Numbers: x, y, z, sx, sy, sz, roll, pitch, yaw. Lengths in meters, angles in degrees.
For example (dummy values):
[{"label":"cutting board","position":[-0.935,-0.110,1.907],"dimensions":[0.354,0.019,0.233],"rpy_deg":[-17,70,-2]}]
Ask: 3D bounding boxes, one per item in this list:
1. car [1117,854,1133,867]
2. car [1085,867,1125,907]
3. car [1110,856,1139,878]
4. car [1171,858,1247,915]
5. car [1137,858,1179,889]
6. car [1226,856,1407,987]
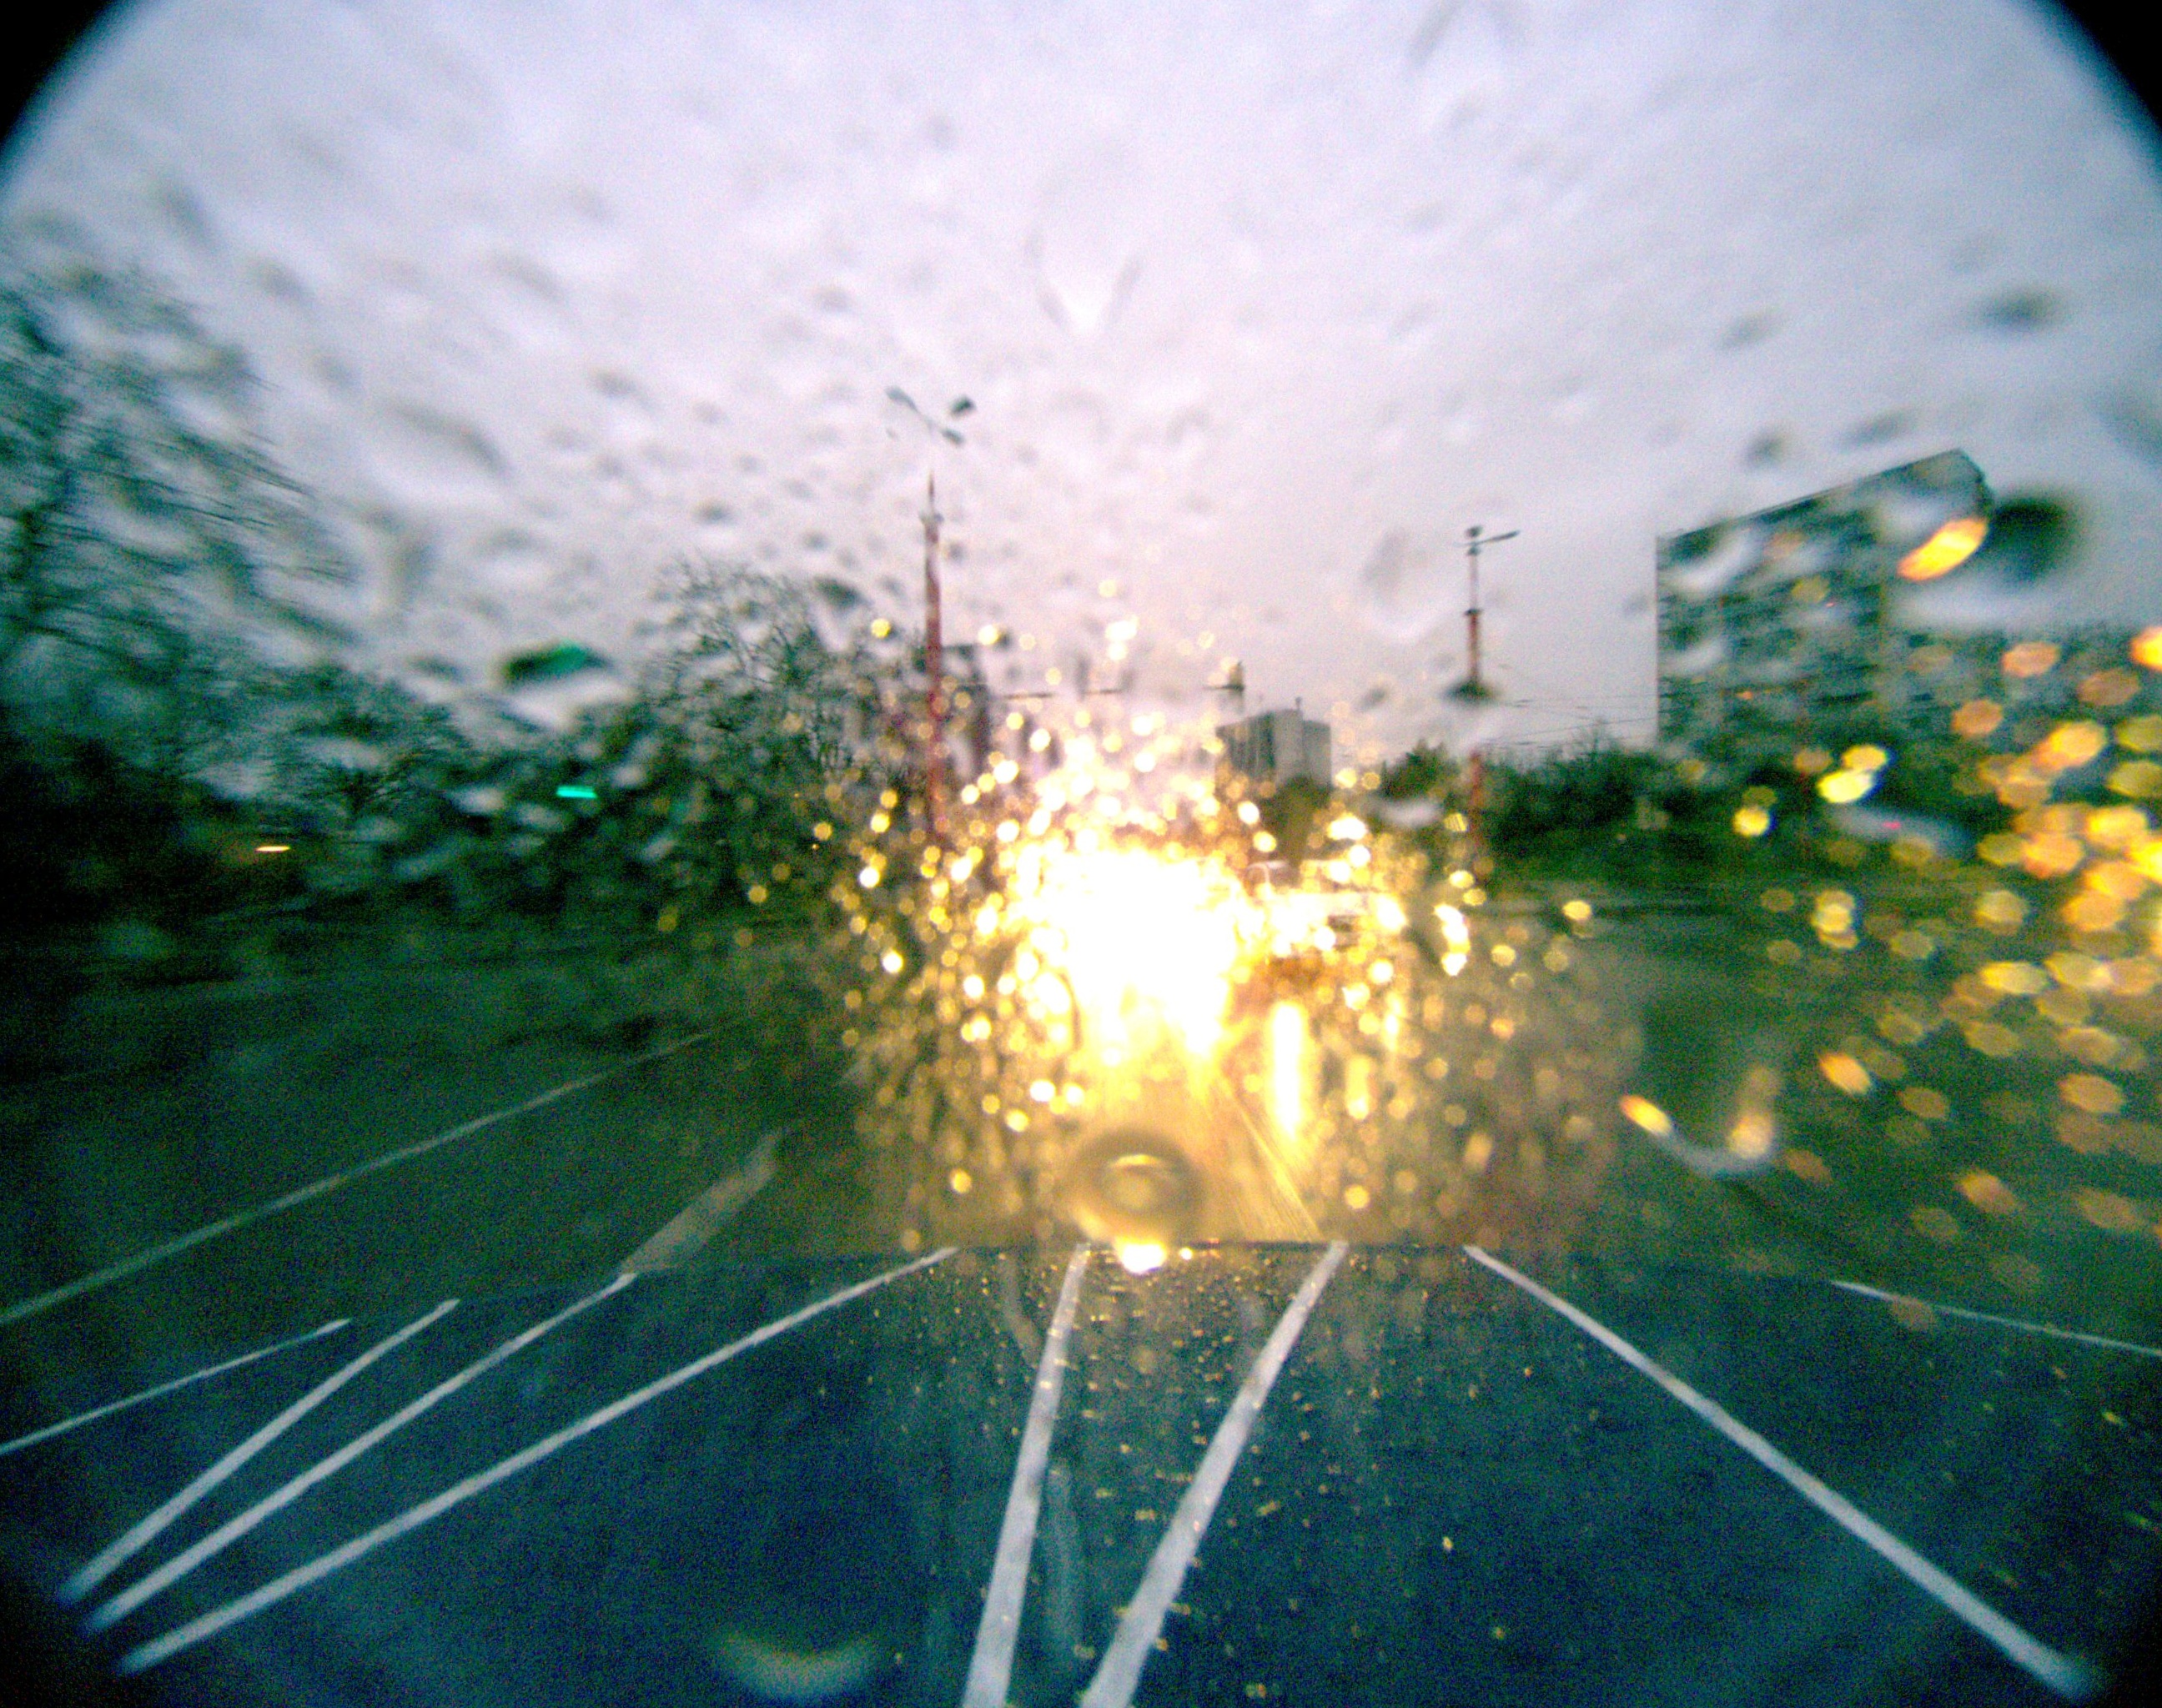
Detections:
[{"label":"car","position":[5.854,0.892,101.097],"dimensions":[1.998,1.605,4.000],"rpy_deg":[-2,1,2]},{"label":"car","position":[1.058,1.455,34.728],"dimensions":[1.679,1.590,4.045],"rpy_deg":[-1,0,1]},{"label":"car","position":[3.235,0.934,56.918],"dimensions":[1.952,1.590,4.124],"rpy_deg":[-1,0,1]},{"label":"car","position":[3.869,0.925,23.623],"dimensions":[1.694,1.530,4.190],"rpy_deg":[-2,0,1]},{"label":"car","position":[4.238,1.052,42.255],"dimensions":[1.952,1.590,4.124],"rpy_deg":[-1,0,1]},{"label":"car","position":[3.390,0.869,11.745],"dimensions":[1.718,1.638,4.148],"rpy_deg":[-1,0,4]}]
